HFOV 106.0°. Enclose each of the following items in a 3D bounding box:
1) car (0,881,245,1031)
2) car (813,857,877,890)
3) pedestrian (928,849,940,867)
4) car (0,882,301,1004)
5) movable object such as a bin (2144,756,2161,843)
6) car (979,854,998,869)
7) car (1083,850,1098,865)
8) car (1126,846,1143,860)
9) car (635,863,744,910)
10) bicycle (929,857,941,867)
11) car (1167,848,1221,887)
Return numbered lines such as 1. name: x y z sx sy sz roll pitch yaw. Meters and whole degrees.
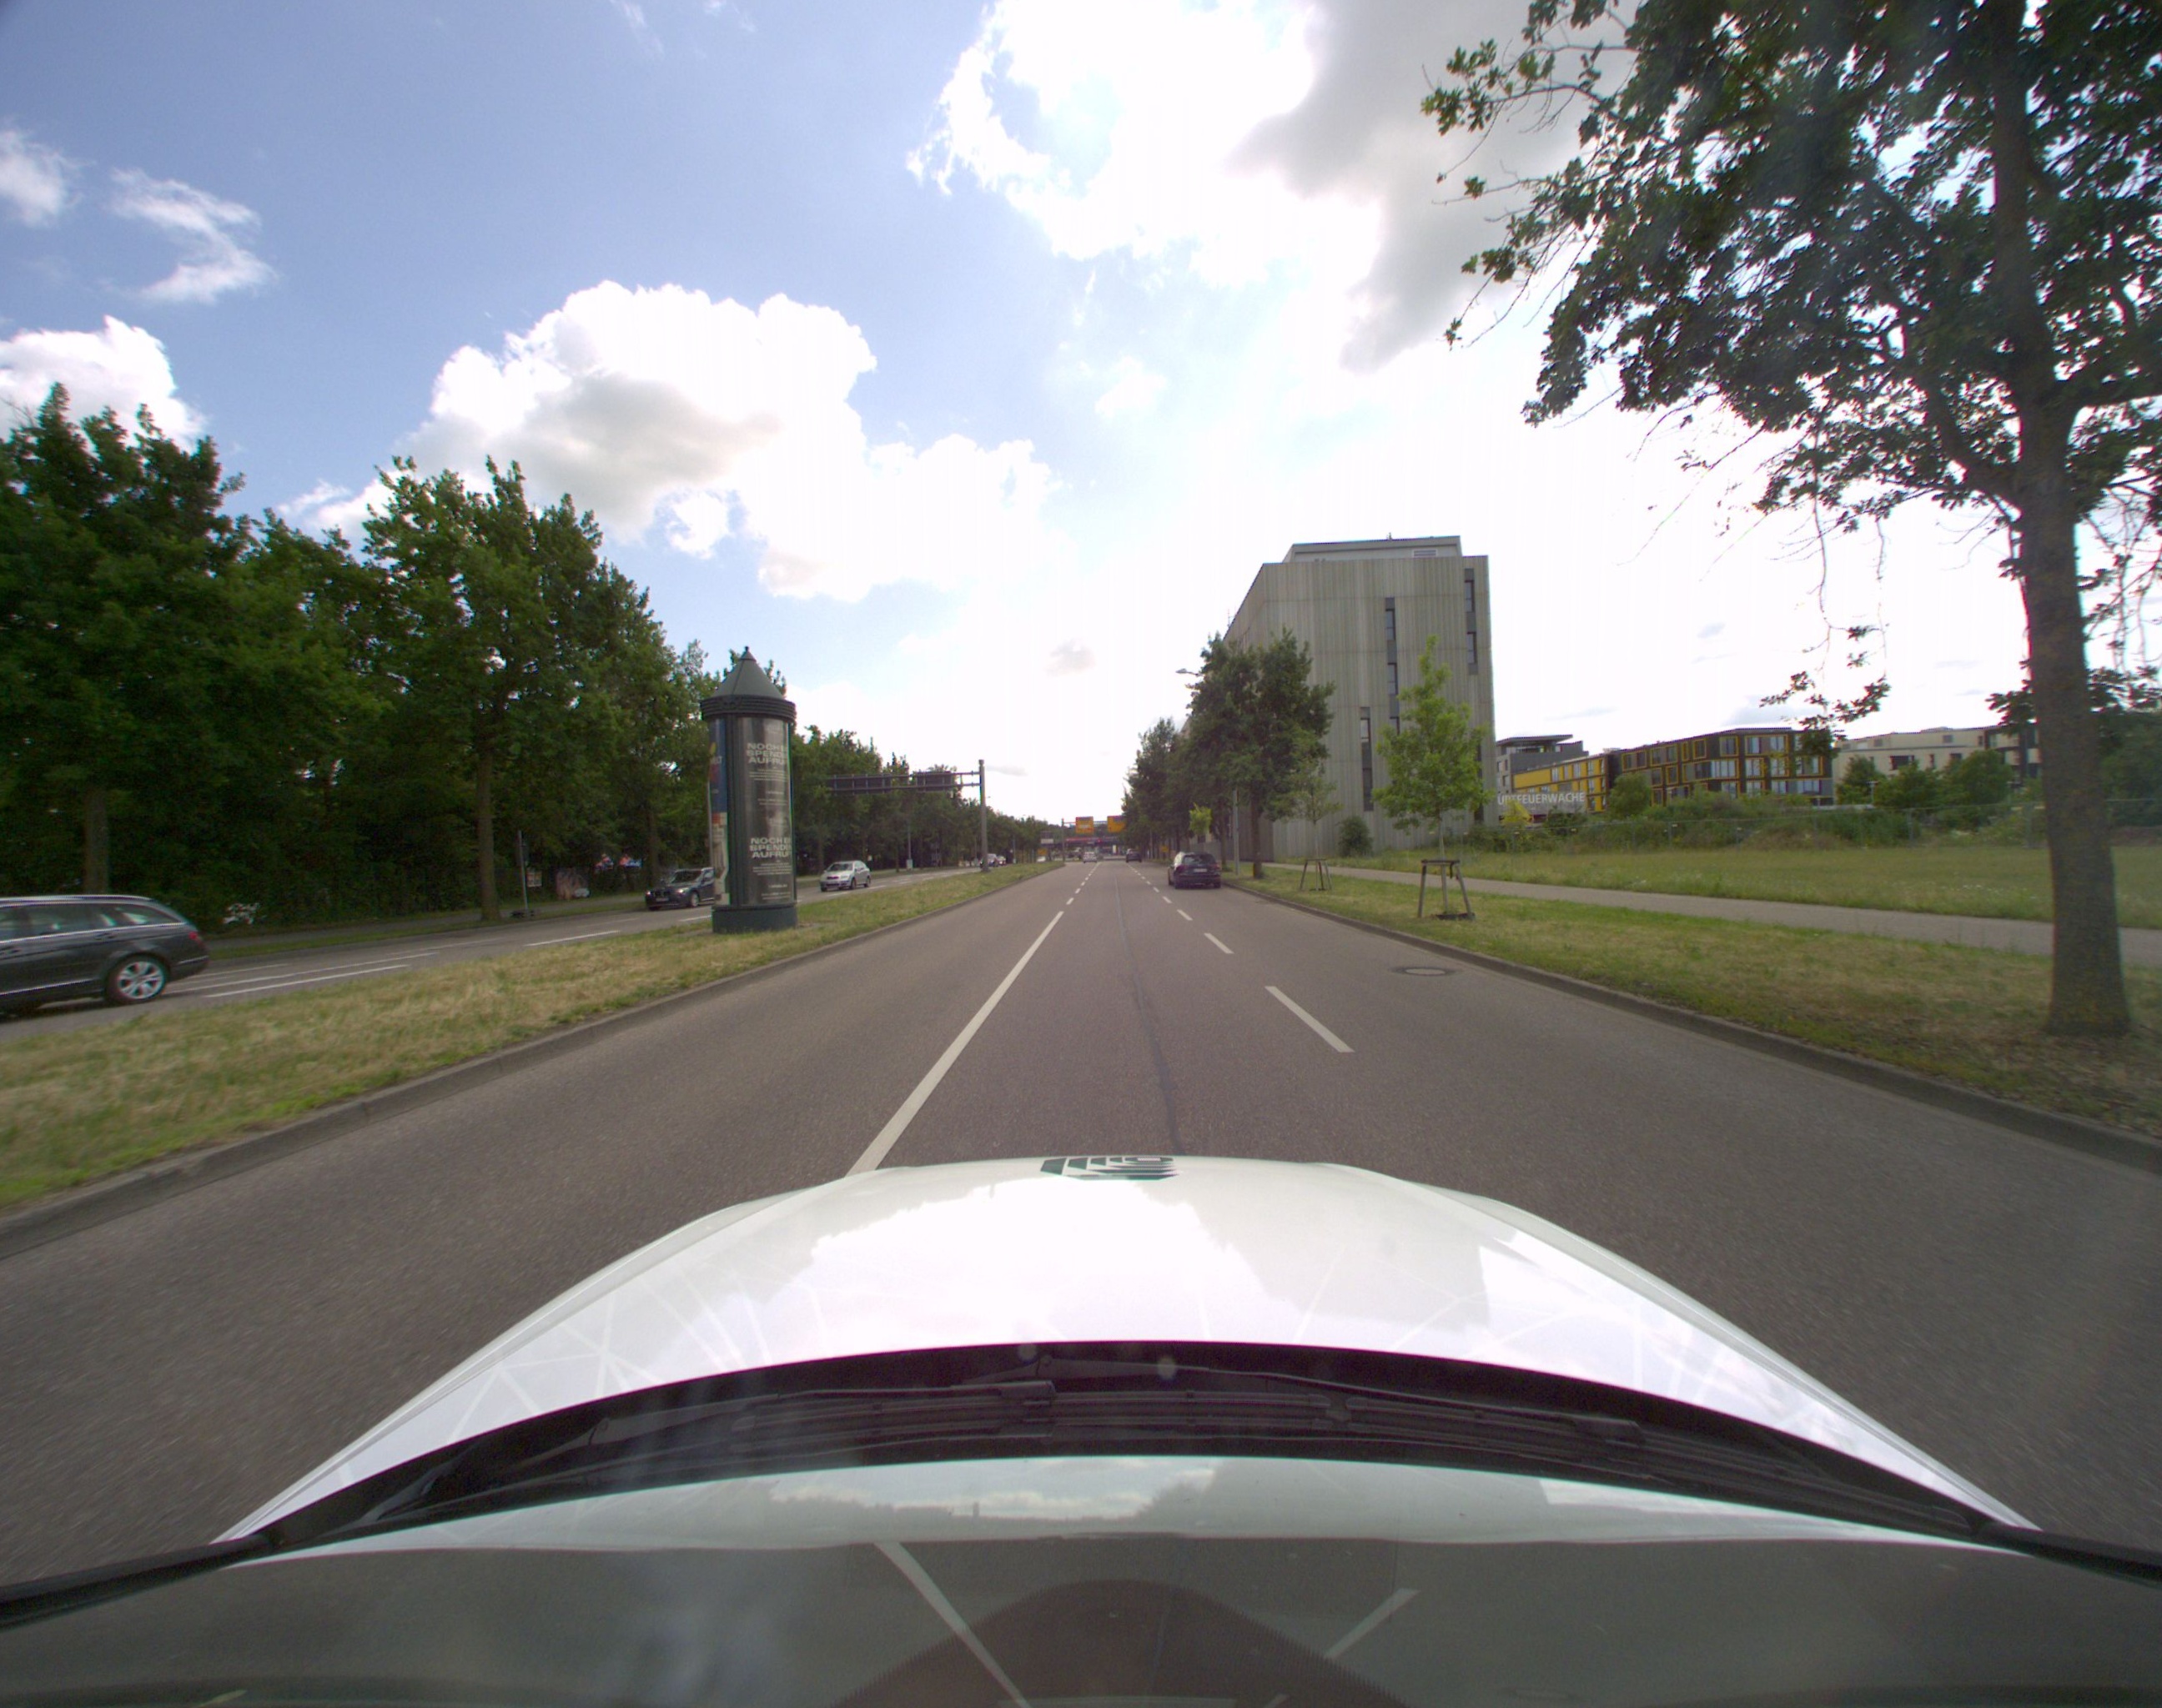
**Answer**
1. car: -13.101 1.247 9.310 1.716 1.591 5.015 -3 0 2
2. car: -11.987 0.960 41.638 1.756 1.440 4.311 -3 0 2
3. pedestrian: -18.137 0.493 100.607 0.966 2.013 1.250 -8 0 3
4. car: -16.058 1.365 13.485 1.903 1.540 4.370 -3 0 2
5. movable object such as a bin: 49.728 -2.510 35.498 3.011 3.853 7.661 -2 -2 45
6. car: -10.566 0.809 93.225 1.737 1.569 4.272 -4 0 -2
7. car: 1.269 0.472 108.989 1.987 2.013 3.999 -1 0 -1
8. car: 6.392 -0.134 97.070 1.984 1.626 4.315 -2 0 4
9. car: -15.554 1.241 32.709 1.757 1.577 5.033 -3 0 1
10. bicycle: -18.057 0.994 100.767 0.804 1.226 2.504 -2 0 3
11. car: 4.482 0.512 32.762 1.678 1.463 4.000 -1 0 1
